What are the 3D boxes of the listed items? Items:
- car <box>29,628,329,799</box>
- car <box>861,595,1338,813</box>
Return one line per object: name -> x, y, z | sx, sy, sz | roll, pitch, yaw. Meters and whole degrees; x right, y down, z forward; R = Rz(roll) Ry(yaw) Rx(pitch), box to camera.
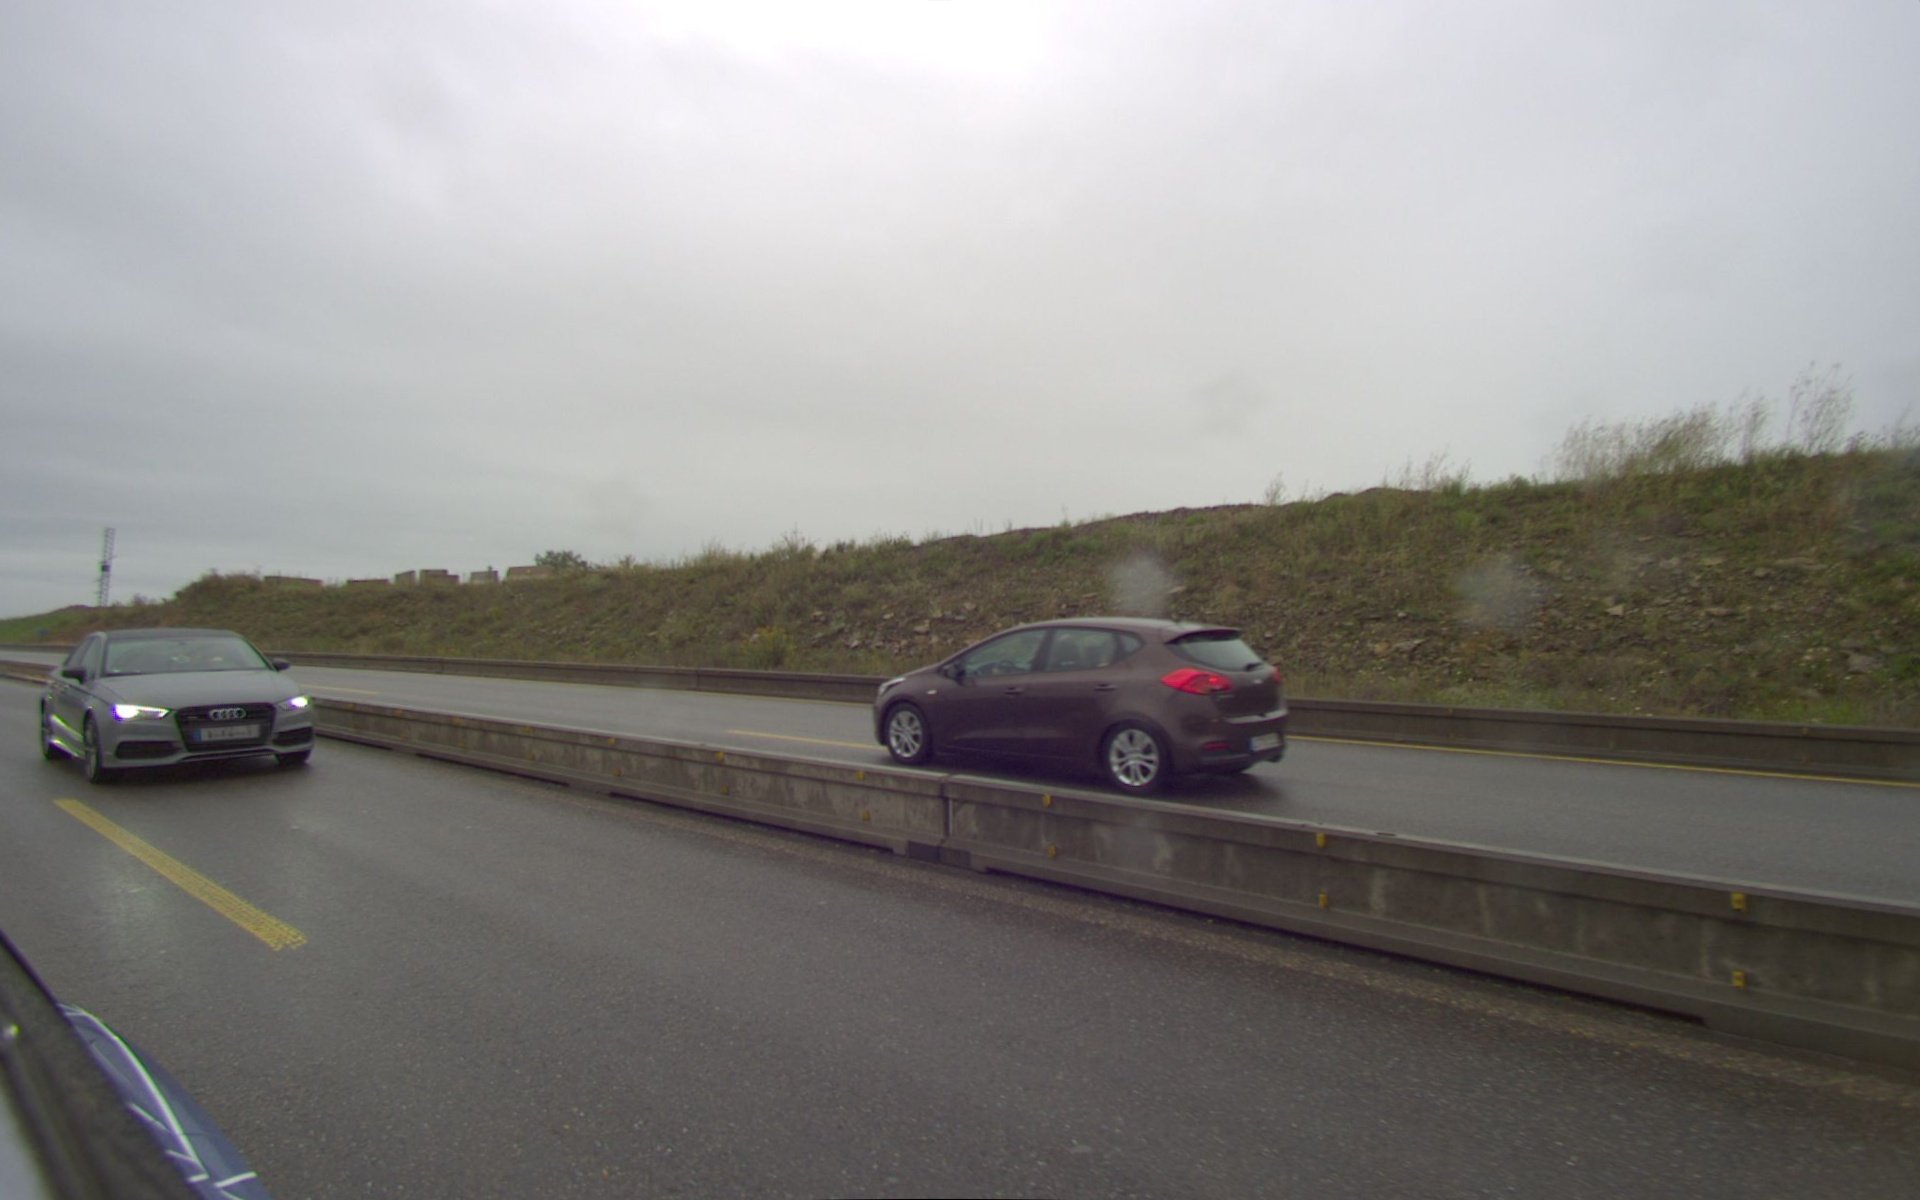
car -> -8.266, 1.016, 10.577 | 4.086, 1.393, 1.781 | -1, -1, 42
car -> 1.112, 0.779, 9.252 | 4.045, 1.548, 1.696 | -1, 0, 42
